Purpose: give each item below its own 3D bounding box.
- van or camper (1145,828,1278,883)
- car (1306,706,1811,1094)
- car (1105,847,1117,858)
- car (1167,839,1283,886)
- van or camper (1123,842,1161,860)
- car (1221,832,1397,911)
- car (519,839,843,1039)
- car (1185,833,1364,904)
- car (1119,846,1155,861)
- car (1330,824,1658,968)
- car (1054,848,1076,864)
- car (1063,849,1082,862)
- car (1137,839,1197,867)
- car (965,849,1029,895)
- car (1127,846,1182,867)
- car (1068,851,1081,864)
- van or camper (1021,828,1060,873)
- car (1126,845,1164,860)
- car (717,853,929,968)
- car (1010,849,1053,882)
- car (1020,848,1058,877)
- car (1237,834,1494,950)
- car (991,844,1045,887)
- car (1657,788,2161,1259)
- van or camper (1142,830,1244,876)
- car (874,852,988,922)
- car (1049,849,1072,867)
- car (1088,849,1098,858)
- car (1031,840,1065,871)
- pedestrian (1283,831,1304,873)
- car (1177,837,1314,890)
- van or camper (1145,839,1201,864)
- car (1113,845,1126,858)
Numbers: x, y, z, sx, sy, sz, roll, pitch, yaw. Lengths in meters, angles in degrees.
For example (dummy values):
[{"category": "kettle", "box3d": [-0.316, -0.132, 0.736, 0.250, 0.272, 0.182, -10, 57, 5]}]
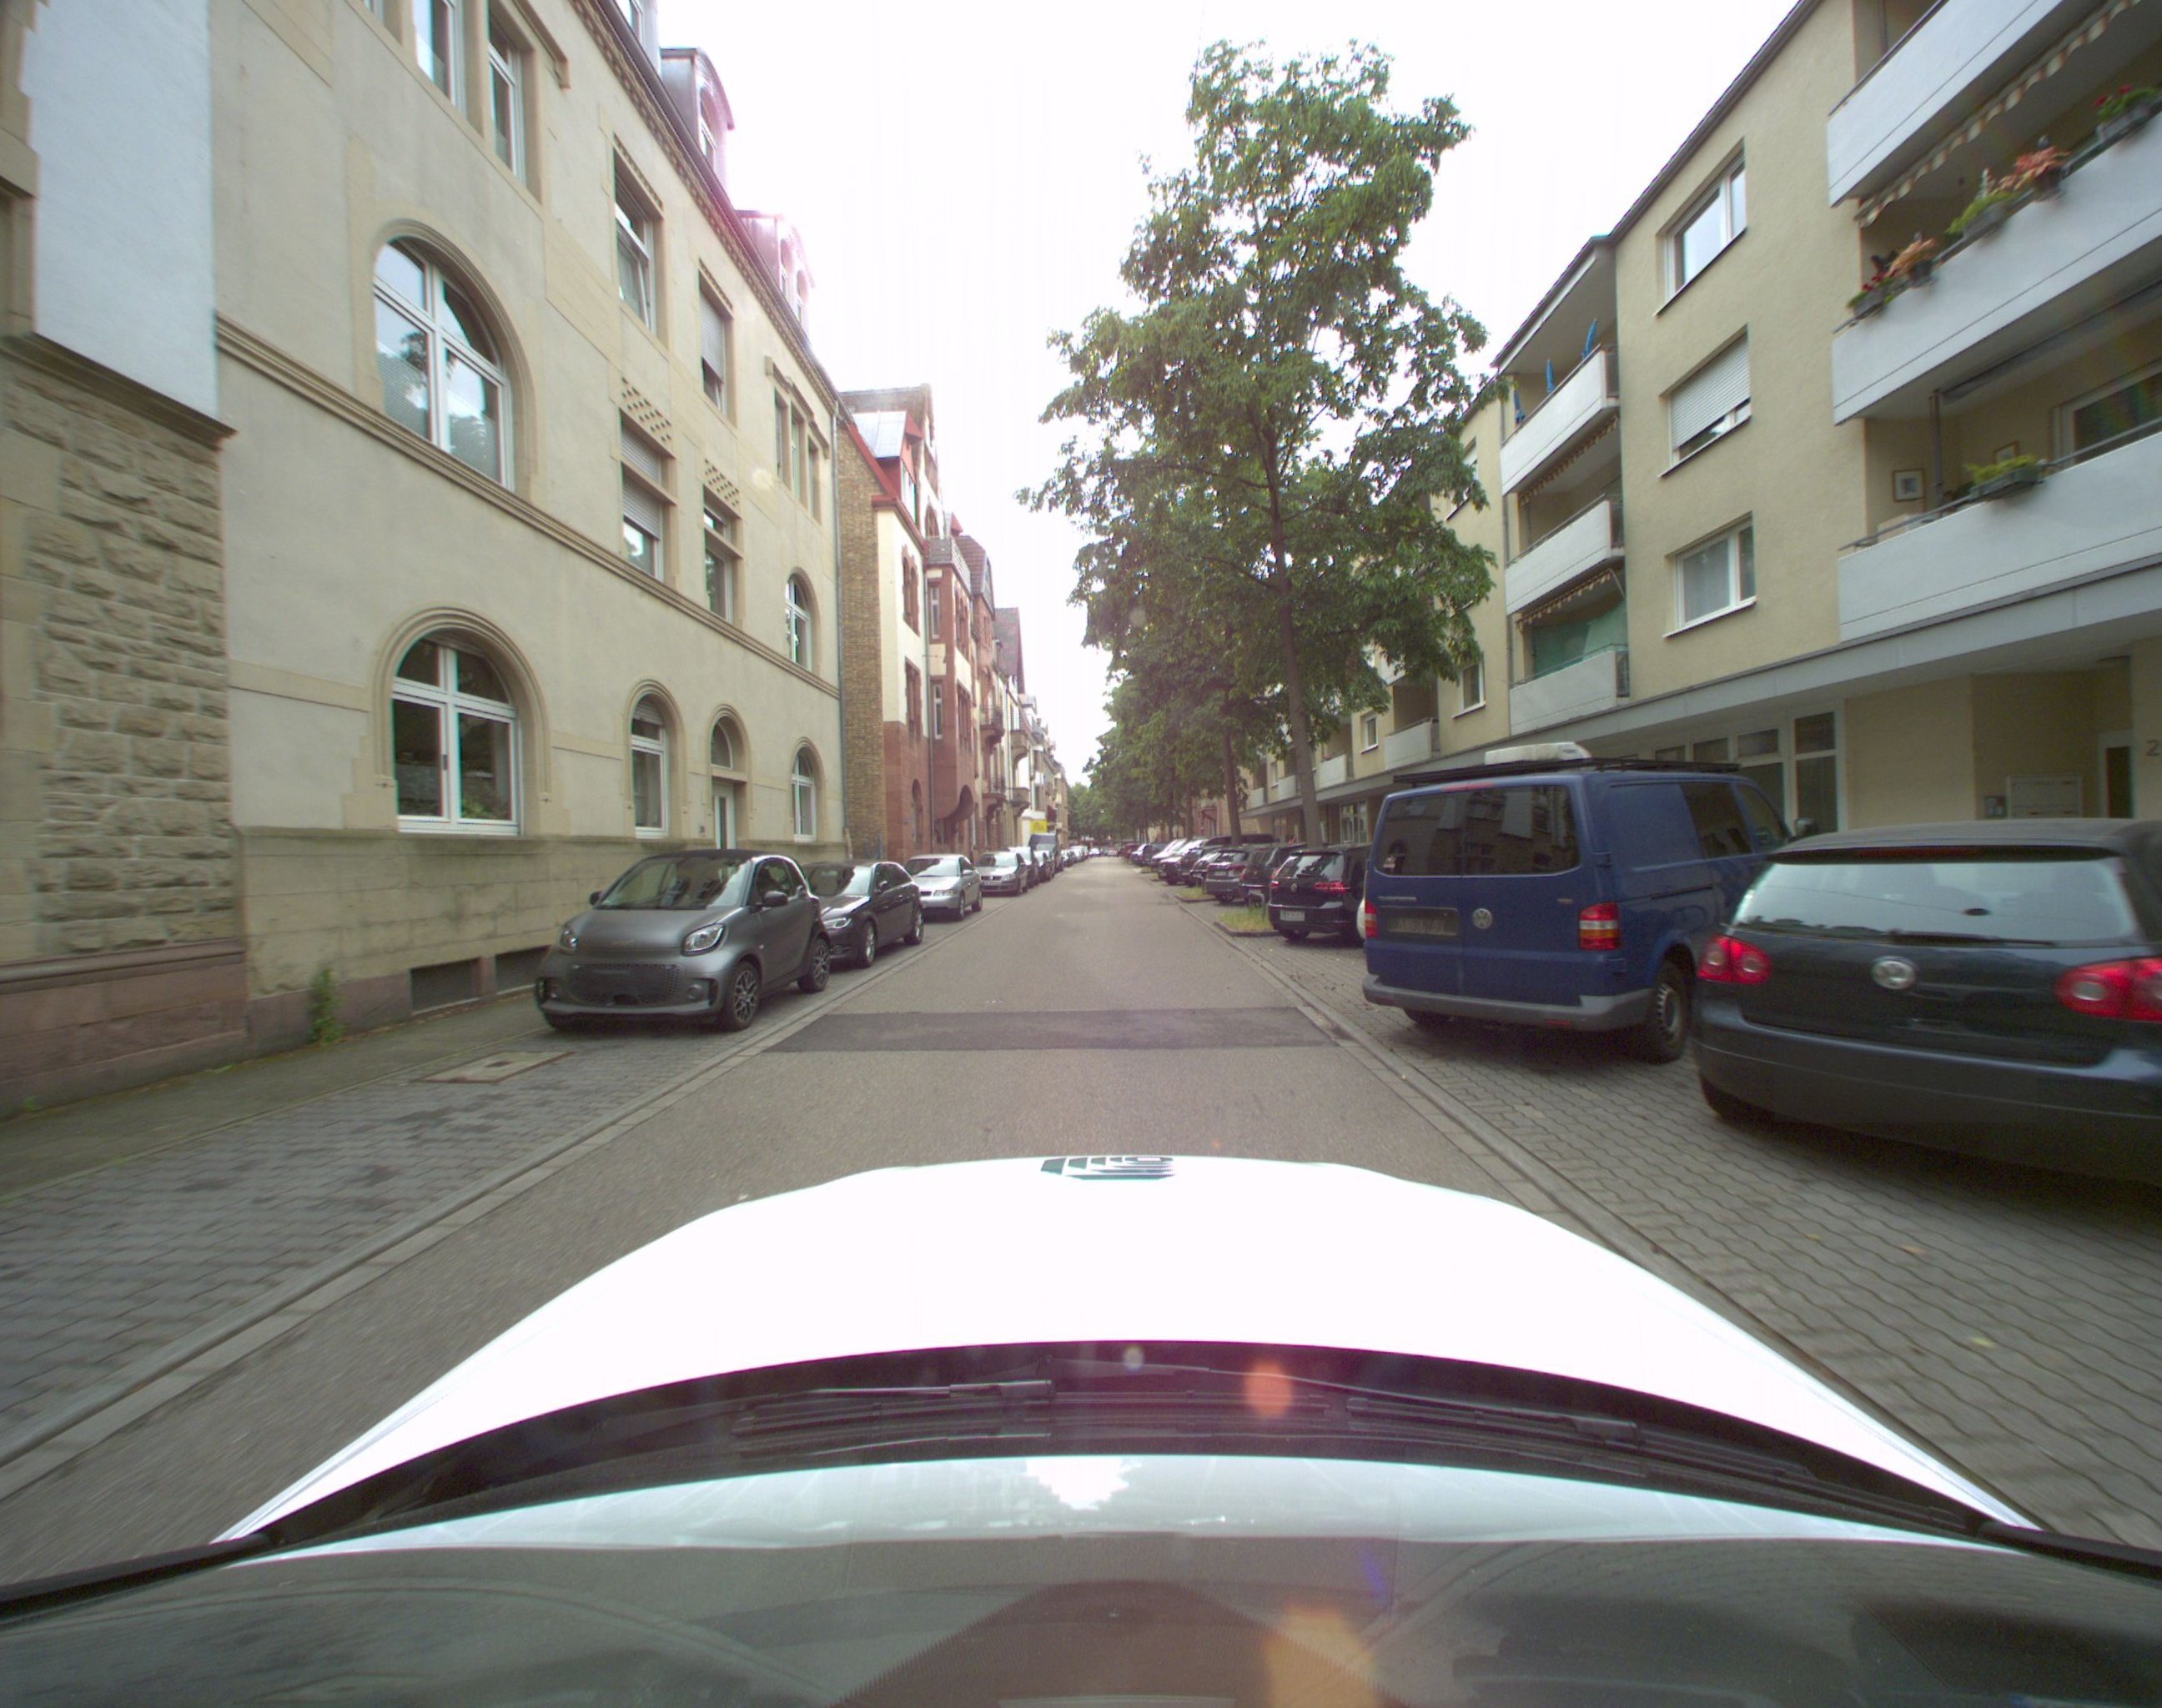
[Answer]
[{"category": "van or camper", "box3d": [5.345, 0.052, 33.308, 5.033, 1.869, 2.109, -4, 0, -26]}, {"category": "car", "box3d": [4.247, 0.126, 6.872, 4.730, 2.196, 2.043, -5, 2, -39]}, {"category": "car", "box3d": [5.304, -0.239, 142.766, 1.987, 1.794, 4.000, 0, -1, 0]}, {"category": "car", "box3d": [5.357, 0.299, 30.272, 3.871, 1.502, 1.896, -3, 0, -28]}, {"category": "van or camper", "box3d": [7.459, -0.395, 99.744, 4.169, 2.085, 1.936, -2, 0, -27]}, {"category": "car", "box3d": [5.173, 0.377, 18.580, 3.372, 1.496, 1.839, -4, 0, -21]}, {"category": "car", "box3d": [-3.620, 0.650, 7.973, 1.641, 1.570, 2.957, 0, 1, 1]}, {"category": "car", "box3d": [5.098, 0.356, 21.449, 4.236, 1.500, 1.959, -4, 0, -26]}, {"category": "car", "box3d": [6.250, -0.088, 90.477, 3.753, 1.465, 1.727, -2, 0, -4]}, {"category": "car", "box3d": [5.363, 0.430, 10.528, 3.923, 1.465, 1.808, -3, 0, -27]}, {"category": "car", "box3d": [-1.428, 0.187, 75.177, 1.822, 1.426, 3.802, 1, 0, 1]}, {"category": "car", "box3d": [-0.948, 0.160, 92.960, 1.986, 1.475, 4.002, -2, 0, 2]}, {"category": "car", "box3d": [6.689, -0.069, 63.561, 4.196, 1.869, 1.982, -4, 0, -28]}, {"category": "car", "box3d": [-2.767, 0.558, 27.680, 1.656, 1.420, 3.930, 0, 1, 2]}, {"category": "car", "box3d": [5.994, 0.170, 66.406, 4.035, 1.559, 1.867, -2, 0, -29]}, {"category": "car", "box3d": [-0.672, 0.323, 85.007, 1.132, 1.309, 3.261, -3, 0, 1]}, {"category": "van or camper", "box3d": [-2.546, -0.231, 52.643, 2.000, 2.651, 5.318, -2, 0, 2]}, {"category": "car", "box3d": [6.701, -0.132, 85.935, 3.753, 1.465, 1.727, -2, 0, -4]}, {"category": "car", "box3d": [-3.513, 0.711, 11.900, 1.719, 1.386, 3.930, 0, -1, 2]}, {"category": "car", "box3d": [-2.299, 0.517, 38.716, 1.628, 1.473, 4.002, 0, 0, 2]}, {"category": "car", "box3d": [-2.175, 0.466, 43.434, 1.661, 1.473, 4.002, 0, -1, 2]}, {"category": "car", "box3d": [4.548, 0.490, 12.762, 4.134, 1.442, 1.832, -3, 0, -39]}, {"category": "car", "box3d": [-2.538, 0.414, 33.752, 1.779, 1.646, 4.363, 0, 1, 2]}, {"category": "car", "box3d": [4.790, 0.481, 4.154, 3.681, 1.480, 1.672, -5, 1, -32]}, {"category": "van or camper", "box3d": [5.766, -0.050, 41.957, 4.752, 1.994, 1.984, -3, -2, -24]}, {"category": "car", "box3d": [-3.294, 0.678, 18.695, 1.720, 1.386, 4.138, 0, 1, 2]}, {"category": "car", "box3d": [-1.710, 0.309, 70.047, 1.783, 1.480, 4.023, -1, 0, 1]}, {"category": "car", "box3d": [2.125, -0.063, 148.266, 1.814, 1.645, 3.754, 0, -1, 1]}, {"category": "car", "box3d": [-2.292, 0.097, 58.407, 1.986, 2.013, 4.893, -2, 0, 2]}, {"category": "pedestrian", "box3d": [9.070, -0.100, 34.758, 0.622, 1.742, 0.849, -3, 0, 2]}, {"category": "car", "box3d": [5.456, 0.297, 27.054, 4.059, 1.483, 1.932, -3, 0, -25]}, {"category": "van or camper", "box3d": [8.316, -0.256, 73.579, 4.804, 2.137, 2.036, -1, 1, -30]}, {"category": "car", "box3d": [6.504, -0.419, 136.892, 1.986, 2.013, 4.001, 1, 0, 1]}]
